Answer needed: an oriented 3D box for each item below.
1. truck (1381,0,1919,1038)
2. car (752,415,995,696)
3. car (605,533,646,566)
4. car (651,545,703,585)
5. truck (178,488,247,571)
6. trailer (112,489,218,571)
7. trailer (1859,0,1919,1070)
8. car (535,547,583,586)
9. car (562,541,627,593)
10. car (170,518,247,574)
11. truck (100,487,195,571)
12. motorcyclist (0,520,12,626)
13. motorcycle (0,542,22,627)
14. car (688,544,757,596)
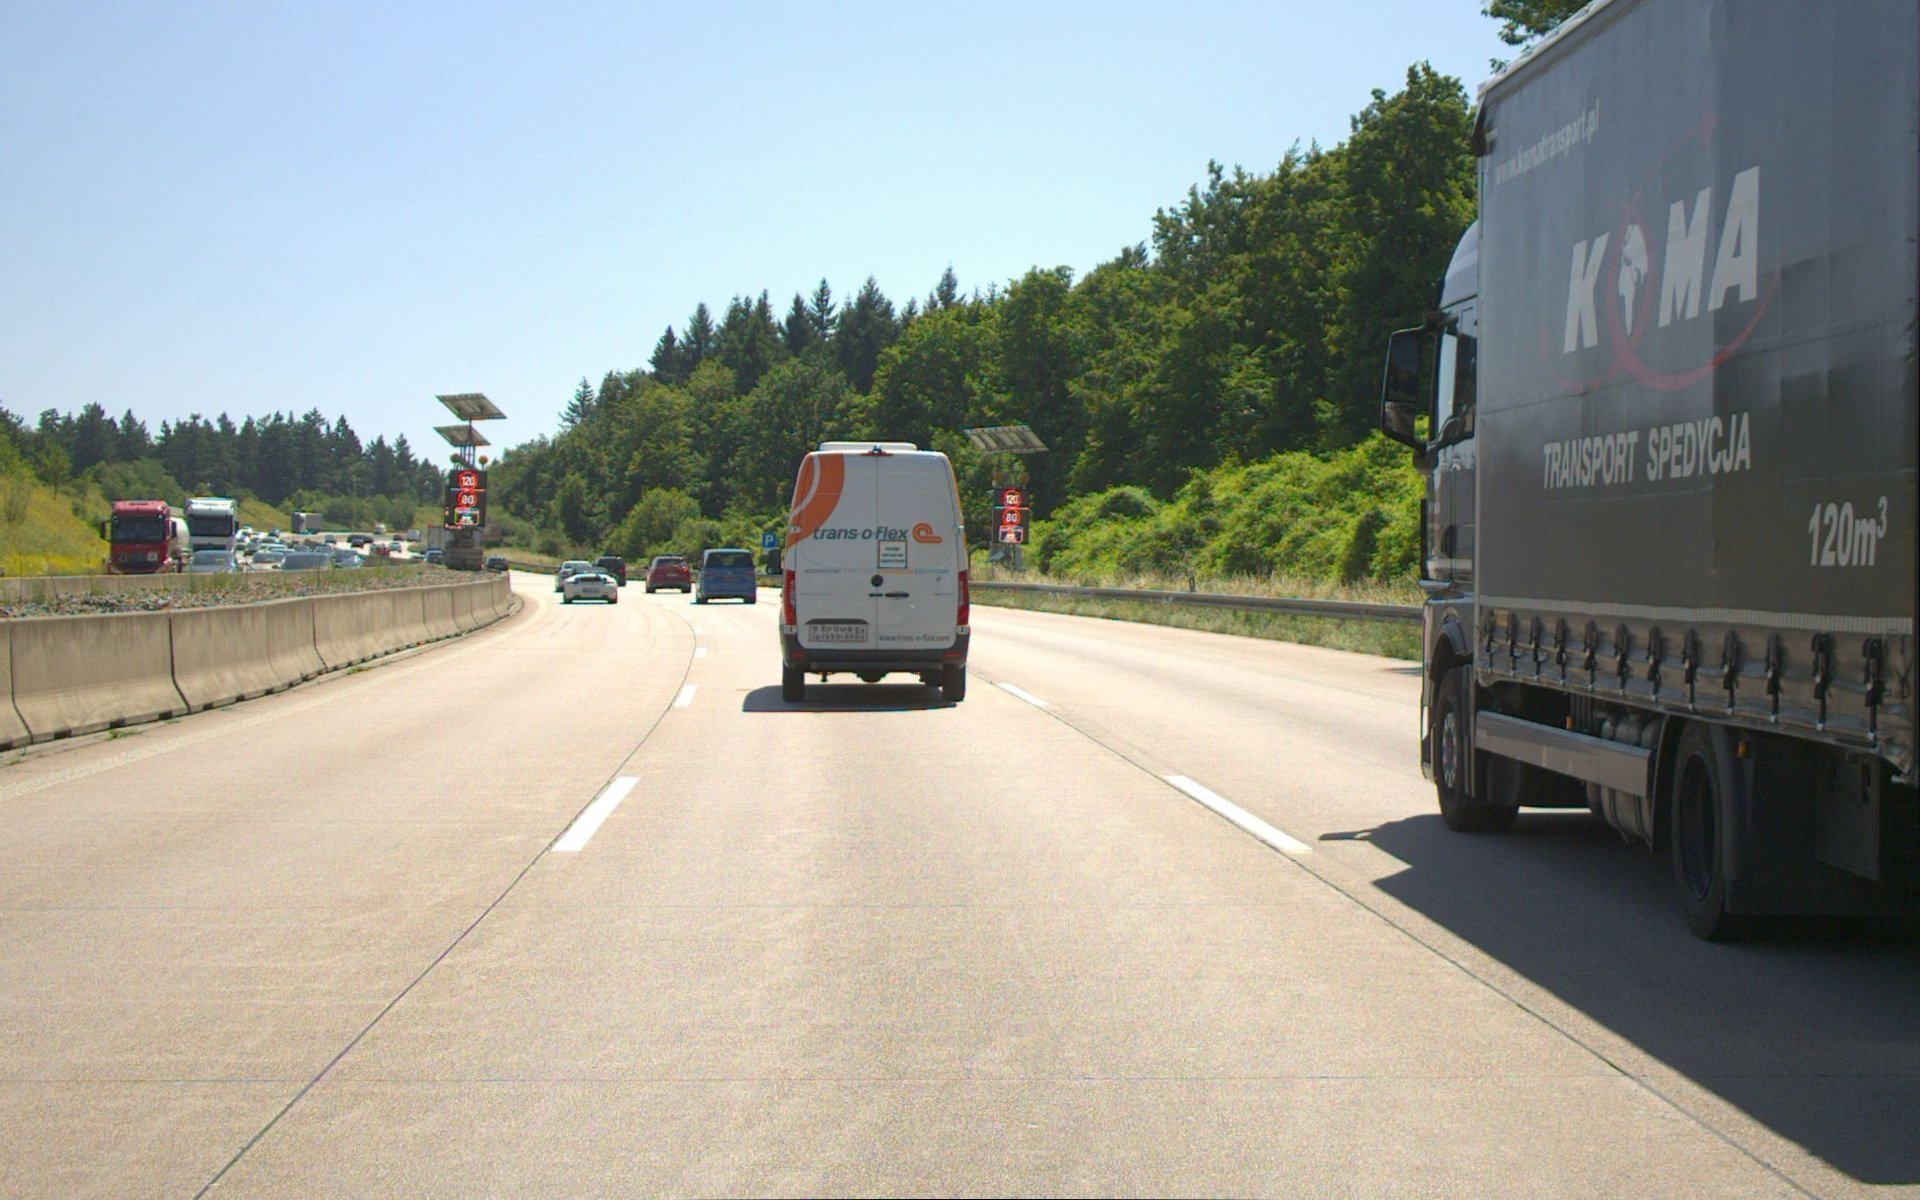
[{"bbox_3d":[4.221,-0.731,15.664,3.159,4.003,10.608,1,1,-1],"label":"truck"},{"bbox_3d":[-1.045,-0.512,37.761,2.226,2.834,5.455,1,1,-6],"label":"car"},{"bbox_3d":[-18.399,-2.761,188.995,1.993,1.678,4.001,3,0,-8],"label":"car"},{"bbox_3d":[-12.622,-1.553,153.037,1.993,1.678,4.001,3,0,-8],"label":"car"},{"bbox_3d":[-39.328,-3.691,181.022,2.932,4.154,5.762,3,0,-8],"label":"truck"},{"bbox_3d":[-33.677,-2.894,146.040,2.933,3.204,11.834,3,0,-7],"label":"trailer"},{"bbox_3d":[4.319,-0.615,5.694,3.134,4.003,9.088,1,1,-1],"label":"trailer"},{"bbox_3d":[-18.458,-1.560,158.227,1.993,1.678,4.001,3,0,-8],"label":"car"},{"bbox_3d":[-12.709,-1.146,119.417,1.993,1.678,4.001,3,0,-8],"label":"car"},{"bbox_3d":[-24.054,-1.735,110.176,1.993,1.766,4.001,0,1,-6],"label":"car"},{"bbox_3d":[-32.940,-2.827,139.531,2.933,3.204,5.906,3,0,-7],"label":"truck"},{"bbox_3d":[-15.775,-0.442,55.210,0.692,1.703,1.525,1,1,-2],"label":"motorcyclist"},{"bbox_3d":[-15.793,-0.259,55.271,0.824,1.367,2.358,1,1,-2],"label":"motorcycle"},{"bbox_3d":[-8.212,-1.034,118.688,1.993,1.678,4.001,3,0,-8],"label":"car"}]
